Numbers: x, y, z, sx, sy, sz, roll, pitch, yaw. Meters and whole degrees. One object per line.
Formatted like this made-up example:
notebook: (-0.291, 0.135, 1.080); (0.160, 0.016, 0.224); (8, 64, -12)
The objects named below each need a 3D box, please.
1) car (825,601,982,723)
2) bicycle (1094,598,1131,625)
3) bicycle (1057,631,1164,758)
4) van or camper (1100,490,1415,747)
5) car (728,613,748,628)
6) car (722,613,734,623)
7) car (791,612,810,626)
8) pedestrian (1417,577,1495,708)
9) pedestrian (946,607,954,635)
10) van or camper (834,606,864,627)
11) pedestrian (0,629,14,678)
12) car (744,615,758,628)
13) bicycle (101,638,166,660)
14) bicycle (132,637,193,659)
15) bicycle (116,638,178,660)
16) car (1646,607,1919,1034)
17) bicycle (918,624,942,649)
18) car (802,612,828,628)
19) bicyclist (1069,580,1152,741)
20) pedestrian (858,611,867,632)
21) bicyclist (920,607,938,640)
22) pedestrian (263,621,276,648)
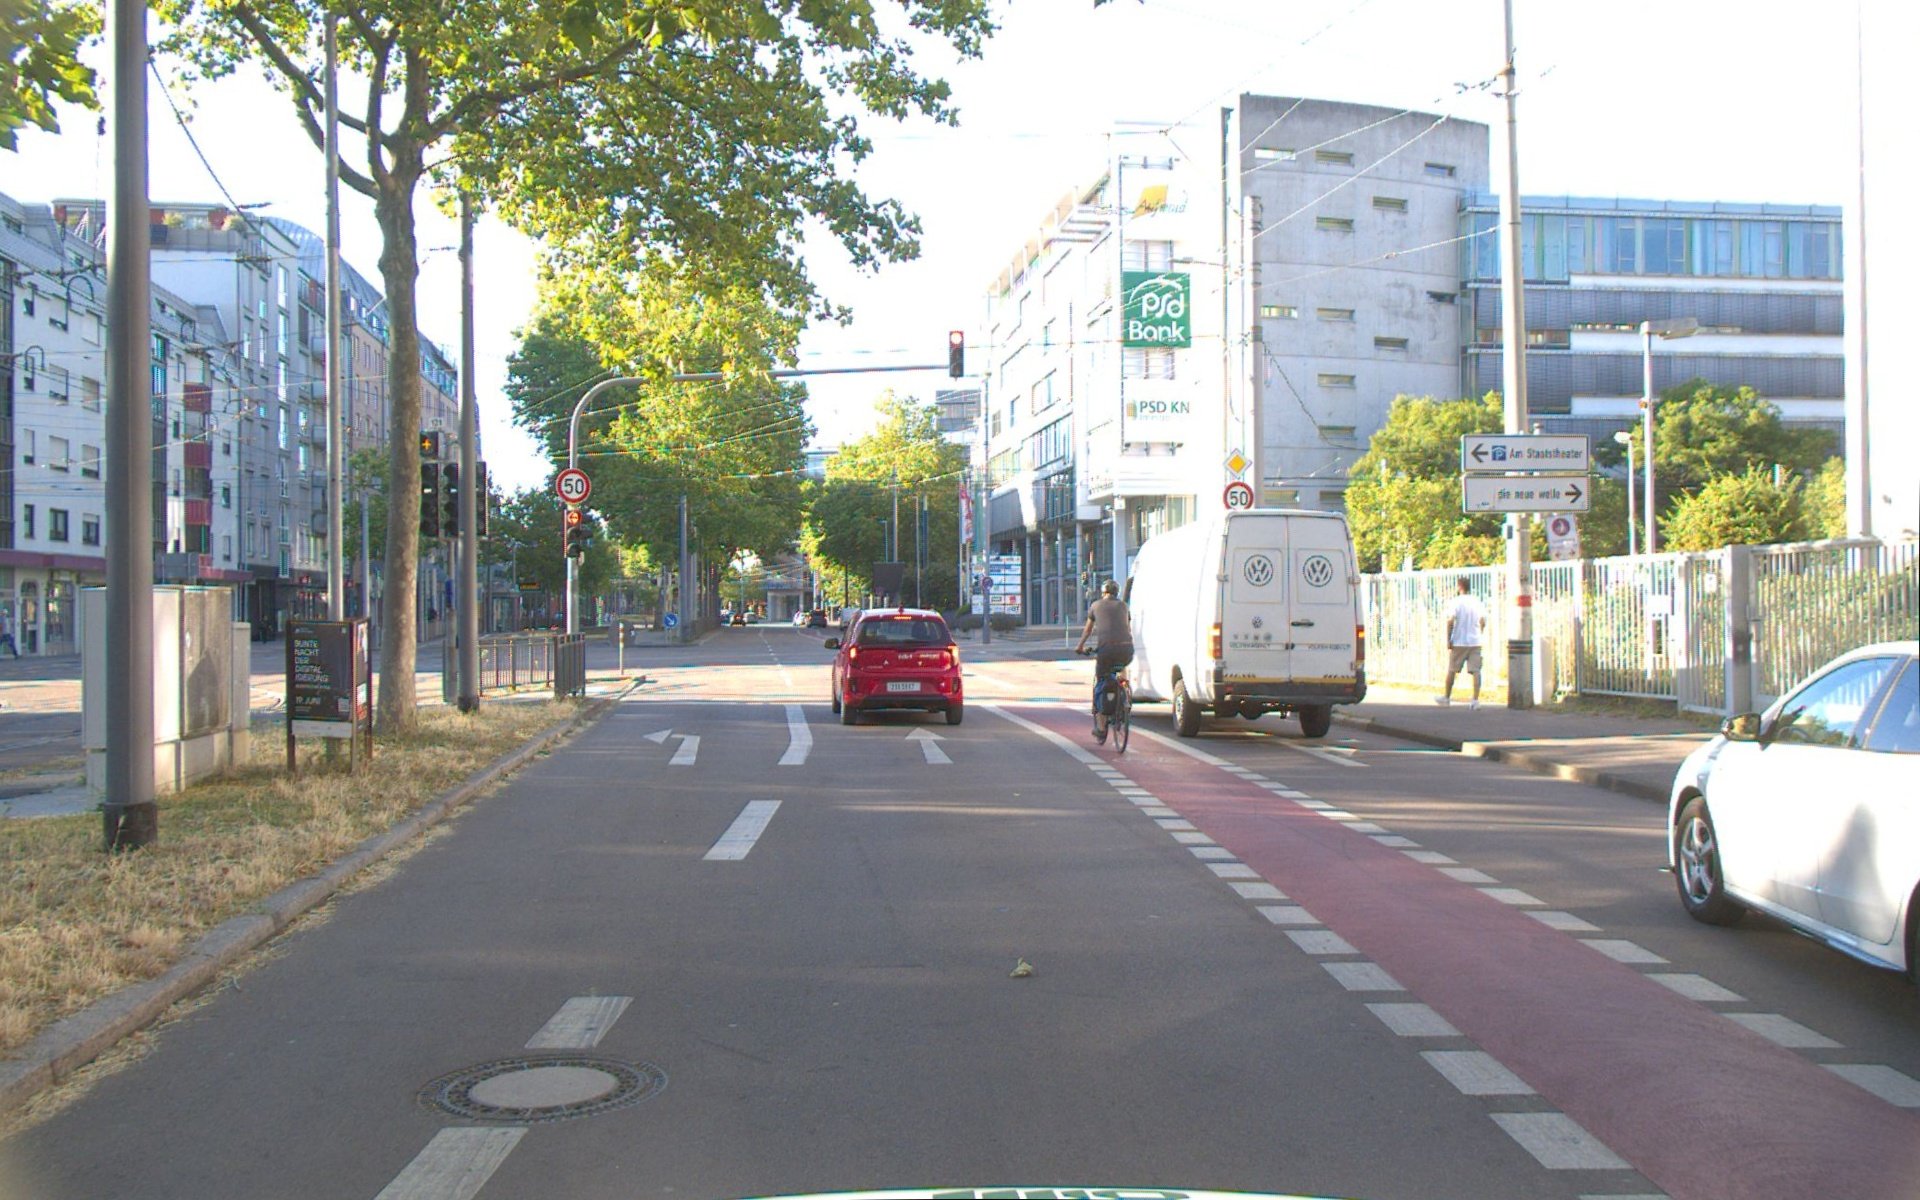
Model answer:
car: (-0.858, 0.790, 22.781); (1.805, 1.515, 3.710); (-1, 0, -8)
bicycle: (8.434, 0.647, 91.565); (1.899, 1.468, 0.574); (-1, 0, -9)
bicycle: (1.608, 0.985, 17.991); (0.729, 1.245, 2.153); (1, 0, -6)
van or camper: (3.577, 0.223, 21.464); (2.226, 2.781, 6.337); (2, 0, -7)
car: (-25.495, 2.331, 189.730); (2.022, 1.683, 3.481); (-1, 0, -13)
car: (-32.357, 2.474, 230.568); (1.545, 1.329, 3.333); (-2, 0, -9)
car: (-18.772, 2.225, 194.392); (1.851, 1.555, 4.420); (-2, 0, -11)
pedestrian: (6.924, 0.579, 23.109); (0.771, 1.779, 0.771); (-1, 0, -5)
pedestrian: (-0.583, 1.166, 92.531); (0.307, 1.589, 0.294); (-1, -1, 30)
van or camper: (-9.949, 1.438, 147.739); (2.107, 1.781, 4.420); (-2, 0, -11)
pedestrian: (-33.904, 1.885, 58.621); (0.502, 1.729, 0.525); (-1, 0, -17)
car: (-26.725, 2.765, 211.423); (1.627, 1.635, 3.524); (-2, 0, -9)
bicycle: (-32.106, 1.908, 64.260); (2.130, 0.801, 0.639); (-1, 0, -11)
bicycle: (-32.006, 1.924, 66.411); (2.130, 0.838, 0.526); (-1, 0, -11)
bicycle: (-31.960, 1.911, 65.049); (2.130, 0.801, 0.490); (-1, 0, -11)
car: (4.399, 0.798, 6.828); (1.764, 1.527, 3.983); (0, 0, 5)
bicycle: (-1.492, 1.785, 82.090); (0.778, 1.182, 2.493); (-1, 0, -11)
car: (-15.432, 2.107, 175.789); (2.433, 1.555, 4.422); (-2, 0, -9)
bicyclist: (1.624, 0.643, 17.918); (0.729, 1.698, 0.744); (1, 0, -7)
pedestrian: (-8.183, 1.820, 138.876); (0.728, 1.746, 0.747); (-1, -1, -8)
bicyclist: (-1.559, 1.165, 82.355); (0.771, 1.663, 0.637); (-1, 0, -12)
pedestrian: (-37.962, 1.903, 90.899); (0.501, 1.484, 0.527); (-1, 0, -9)
